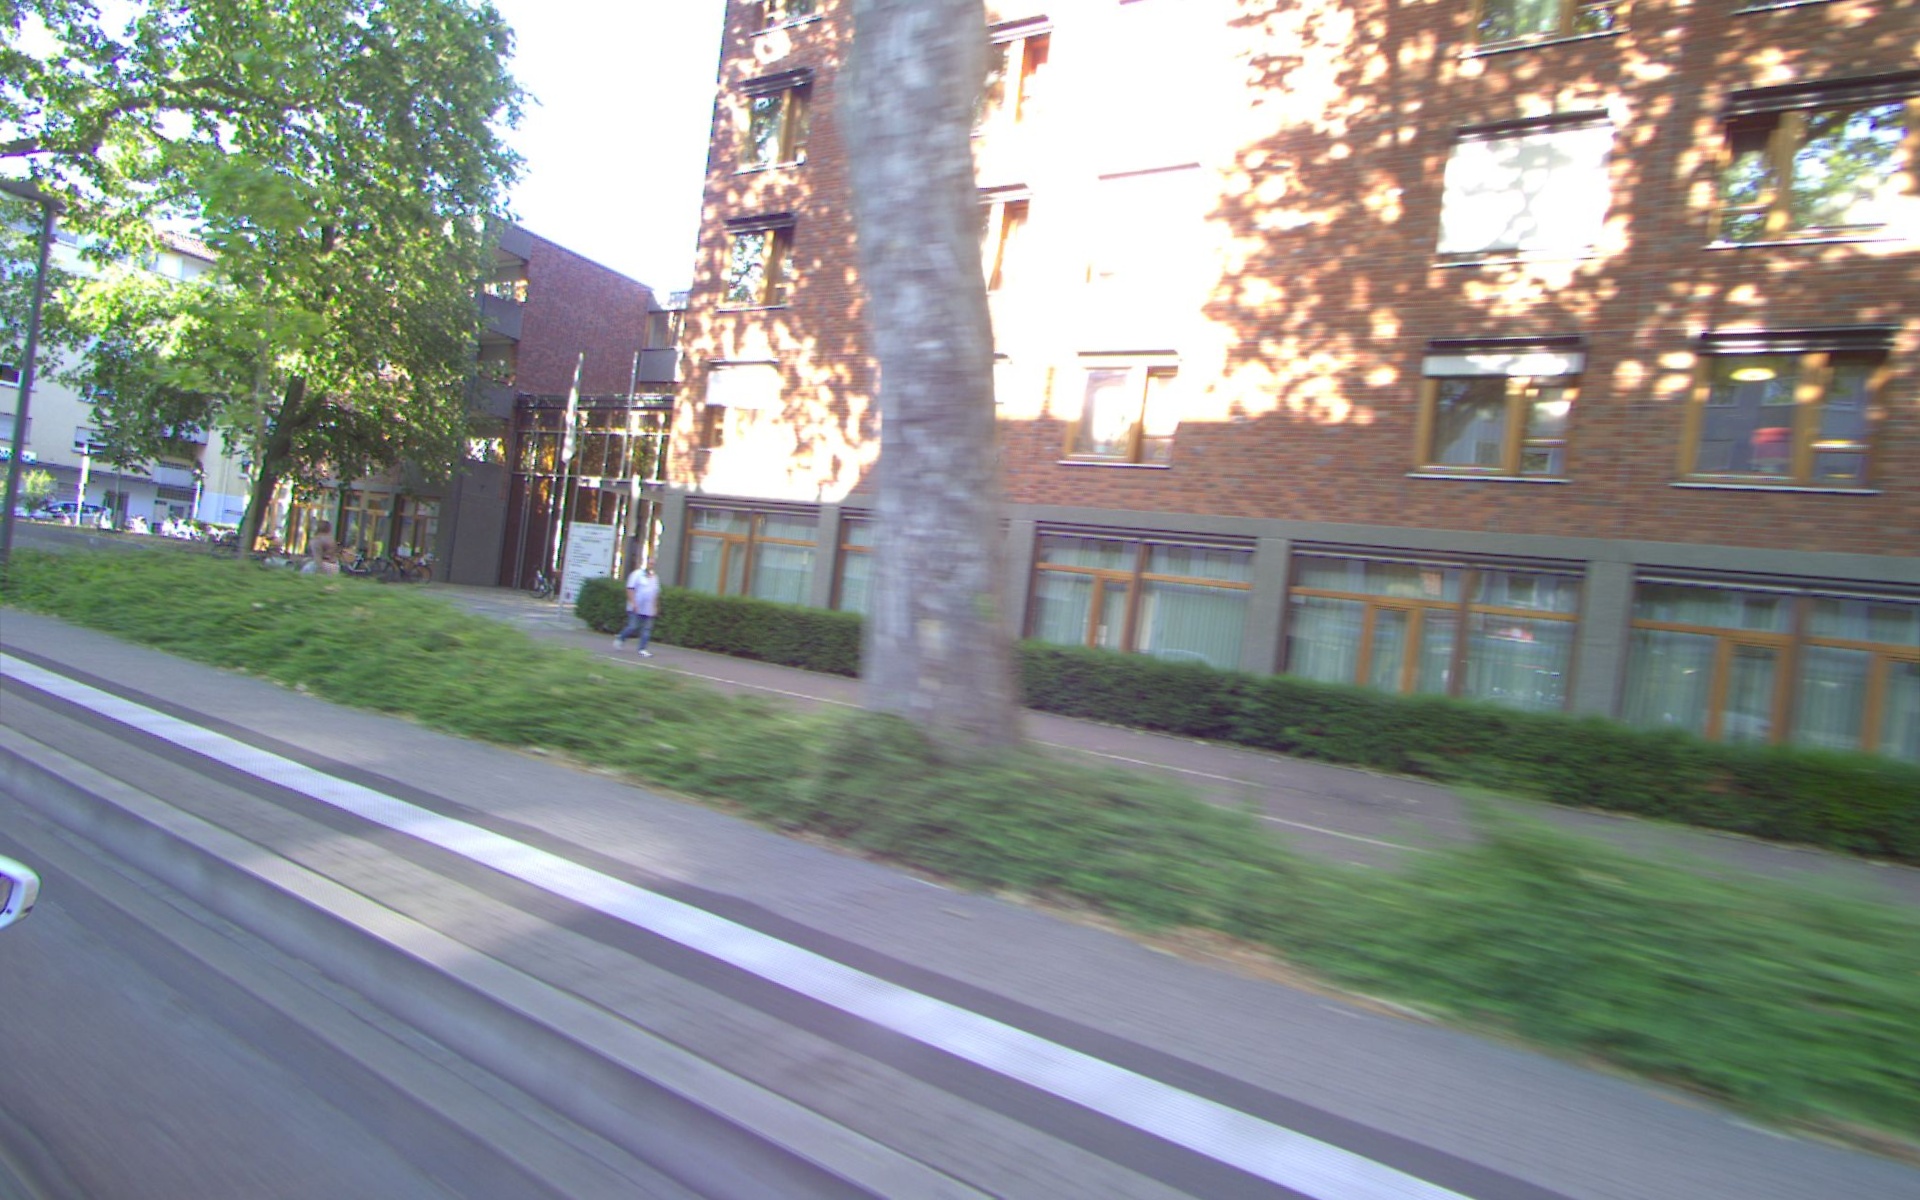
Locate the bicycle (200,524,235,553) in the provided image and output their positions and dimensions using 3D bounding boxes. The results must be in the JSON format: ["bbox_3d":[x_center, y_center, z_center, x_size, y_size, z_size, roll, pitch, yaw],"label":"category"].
[{"bbox_3d":[-34.810,-2.901,47.181,1.669,1.171,0.661,7,2,31],"label":"bicycle"}]

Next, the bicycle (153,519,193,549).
[{"bbox_3d":[-35.693,-3.010,45.612,2.017,1.171,0.731,7,1,32],"label":"bicycle"}]

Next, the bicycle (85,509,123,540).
[{"bbox_3d":[-36.983,-3.270,43.436,1.668,1.171,0.601,7,2,27],"label":"bicycle"}]

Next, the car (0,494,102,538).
[{"bbox_3d":[-45.821,-4.210,50.349,1.834,1.571,3.867,10,1,31],"label":"car"}]

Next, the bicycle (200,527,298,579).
[{"bbox_3d":[-19.305,-1.266,27.359,0.564,1.171,2.027,7,1,41],"label":"bicycle"}]

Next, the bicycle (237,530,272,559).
[{"bbox_3d":[-33.798,-2.661,48.198,1.668,1.171,0.563,7,2,27],"label":"bicycle"}]

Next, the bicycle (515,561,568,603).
[{"bbox_3d":[-13.720,-0.585,32.932,2.009,1.171,0.704,7,2,41],"label":"bicycle"}]

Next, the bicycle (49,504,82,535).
[{"bbox_3d":[-38.066,-3.435,42.816,1.671,1.171,0.600,7,2,35],"label":"bicycle"}]

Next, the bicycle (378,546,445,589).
[{"bbox_3d":[-17.016,-0.999,31.215,0.563,1.171,1.677,7,1,36],"label":"bicycle"}]

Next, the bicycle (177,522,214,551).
[{"bbox_3d":[-35.318,-2.927,46.492,1.820,1.171,0.661,7,2,31],"label":"bicycle"}]

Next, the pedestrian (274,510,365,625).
[{"bbox_3d":[-10.204,-0.515,16.023,0.902,1.680,0.767,7,0,32],"label":"pedestrian"}]

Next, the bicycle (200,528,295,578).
[{"bbox_3d":[-19.870,-1.296,28.095,0.562,1.171,2.032,7,1,32],"label":"bicycle"}]

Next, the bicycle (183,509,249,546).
[{"bbox_3d":[-28.305,-2.741,38.294,1.921,1.171,0.565,6,1,-43],"label":"bicycle"}]

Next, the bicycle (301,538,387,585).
[{"bbox_3d":[-18.064,-1.123,29.557,0.563,1.171,2.030,7,1,36],"label":"bicycle"}]

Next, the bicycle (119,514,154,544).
[{"bbox_3d":[-36.544,-3.166,44.625,1.950,1.171,0.636,7,2,34],"label":"bicycle"}]

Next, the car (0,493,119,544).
[{"bbox_3d":[-41.517,-3.743,46.256,1.835,1.713,3.867,7,-1,31],"label":"car"}]

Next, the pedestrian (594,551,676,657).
[{"bbox_3d":[-5.547,0.078,17.175,0.902,1.680,0.767,7,0,32],"label":"pedestrian"}]
